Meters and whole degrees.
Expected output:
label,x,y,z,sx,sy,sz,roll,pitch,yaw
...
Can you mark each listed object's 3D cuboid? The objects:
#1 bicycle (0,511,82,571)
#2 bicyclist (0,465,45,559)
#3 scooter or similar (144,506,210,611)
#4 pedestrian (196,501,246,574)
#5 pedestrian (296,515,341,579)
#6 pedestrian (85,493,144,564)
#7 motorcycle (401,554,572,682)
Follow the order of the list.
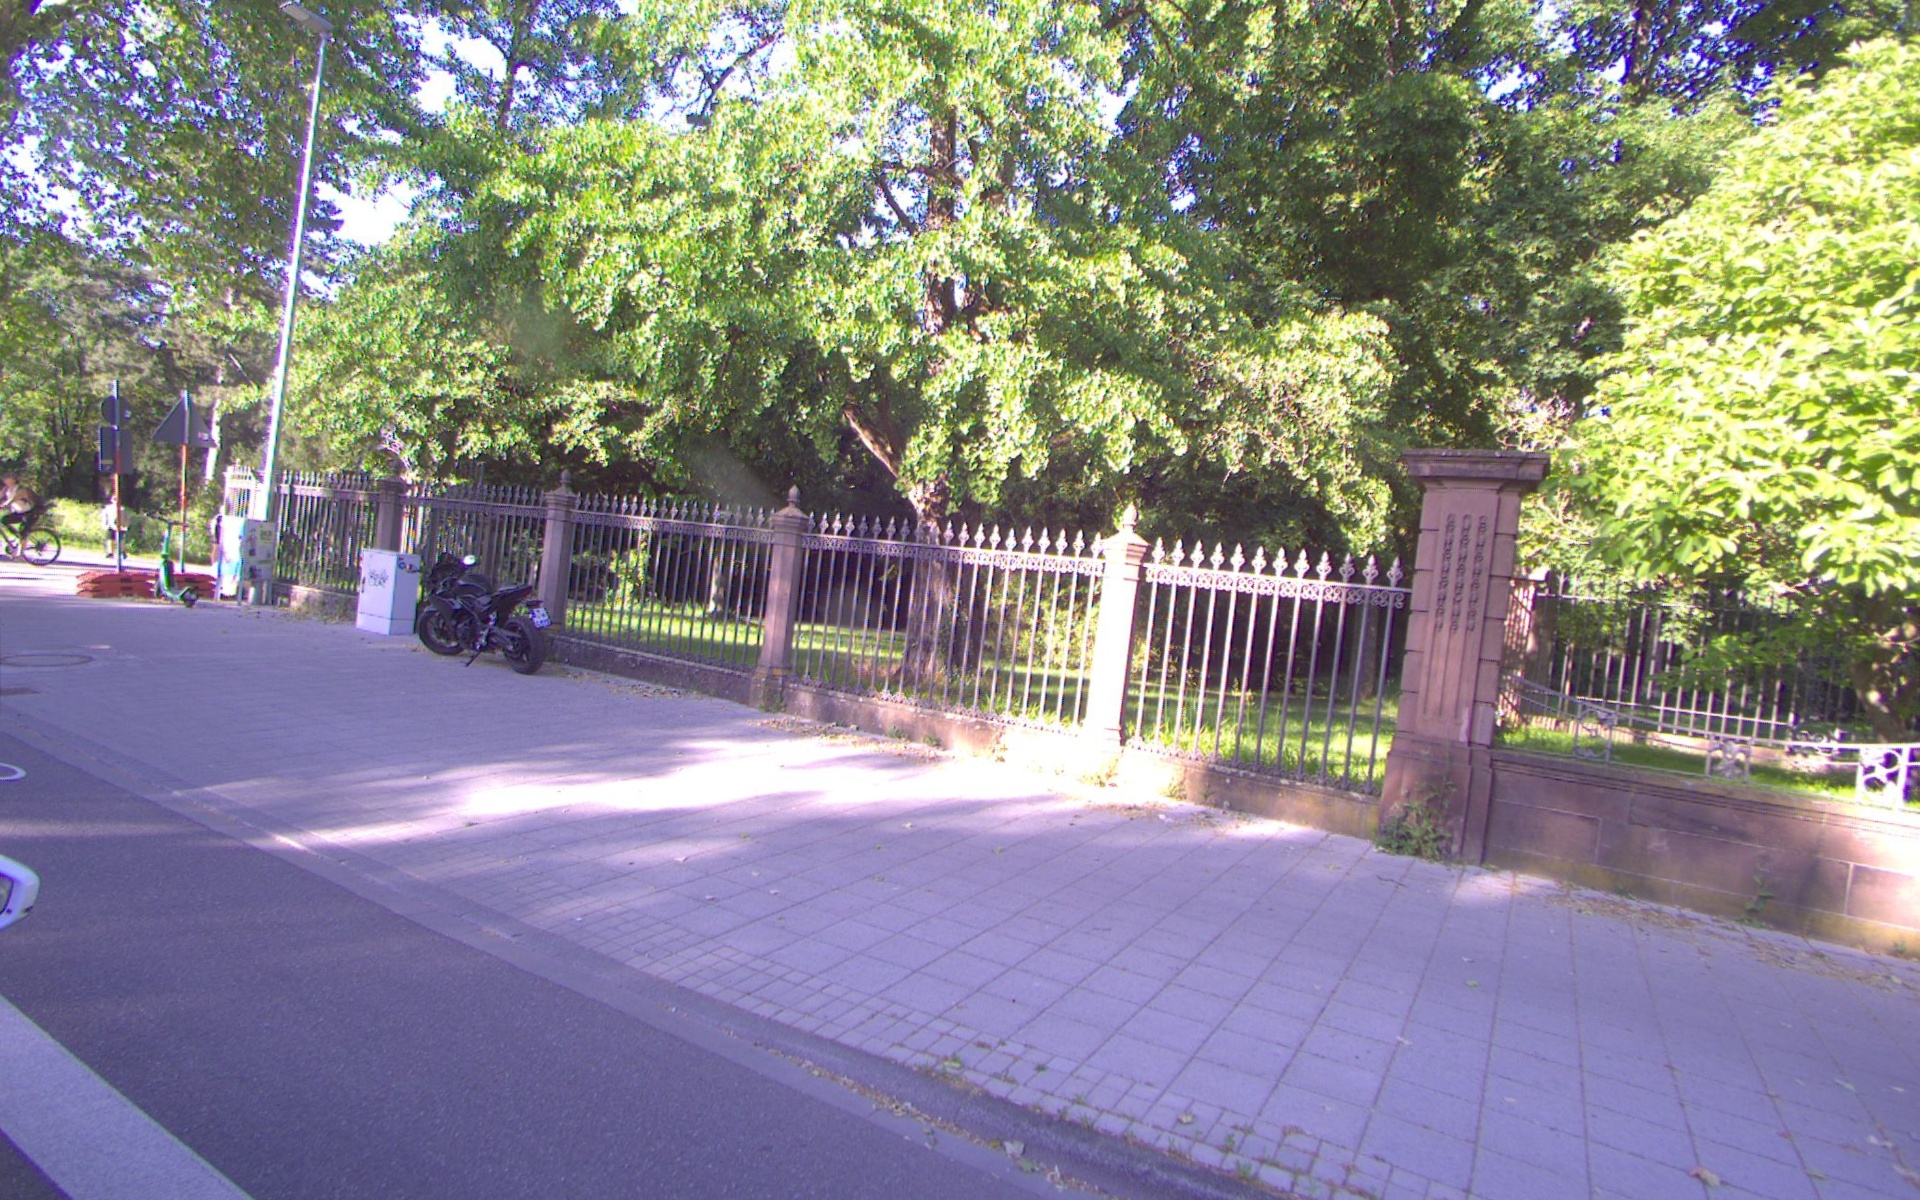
label,x,y,z,sx,sy,sz,roll,pitch,yaw
bicycle,-17.375,-1.111,18.202,0.736,0.988,2.099,7,1,19
bicyclist,-17.325,-1.617,18.170,0.722,1.634,0.849,7,2,19
scooter or similar,-10.873,-0.585,13.964,1.152,1.344,0.228,7,2,30
pedestrian,-18.702,-1.573,25.468,0.633,1.719,0.690,7,0,31
pedestrian,-18.314,-1.501,28.718,0.823,1.702,0.685,7,0,-45
pedestrian,-20.156,-1.694,24.011,0.812,1.536,0.909,7,-1,-32
motorcycle,-5.180,0.168,10.949,2.134,1.146,0.506,6,2,30
